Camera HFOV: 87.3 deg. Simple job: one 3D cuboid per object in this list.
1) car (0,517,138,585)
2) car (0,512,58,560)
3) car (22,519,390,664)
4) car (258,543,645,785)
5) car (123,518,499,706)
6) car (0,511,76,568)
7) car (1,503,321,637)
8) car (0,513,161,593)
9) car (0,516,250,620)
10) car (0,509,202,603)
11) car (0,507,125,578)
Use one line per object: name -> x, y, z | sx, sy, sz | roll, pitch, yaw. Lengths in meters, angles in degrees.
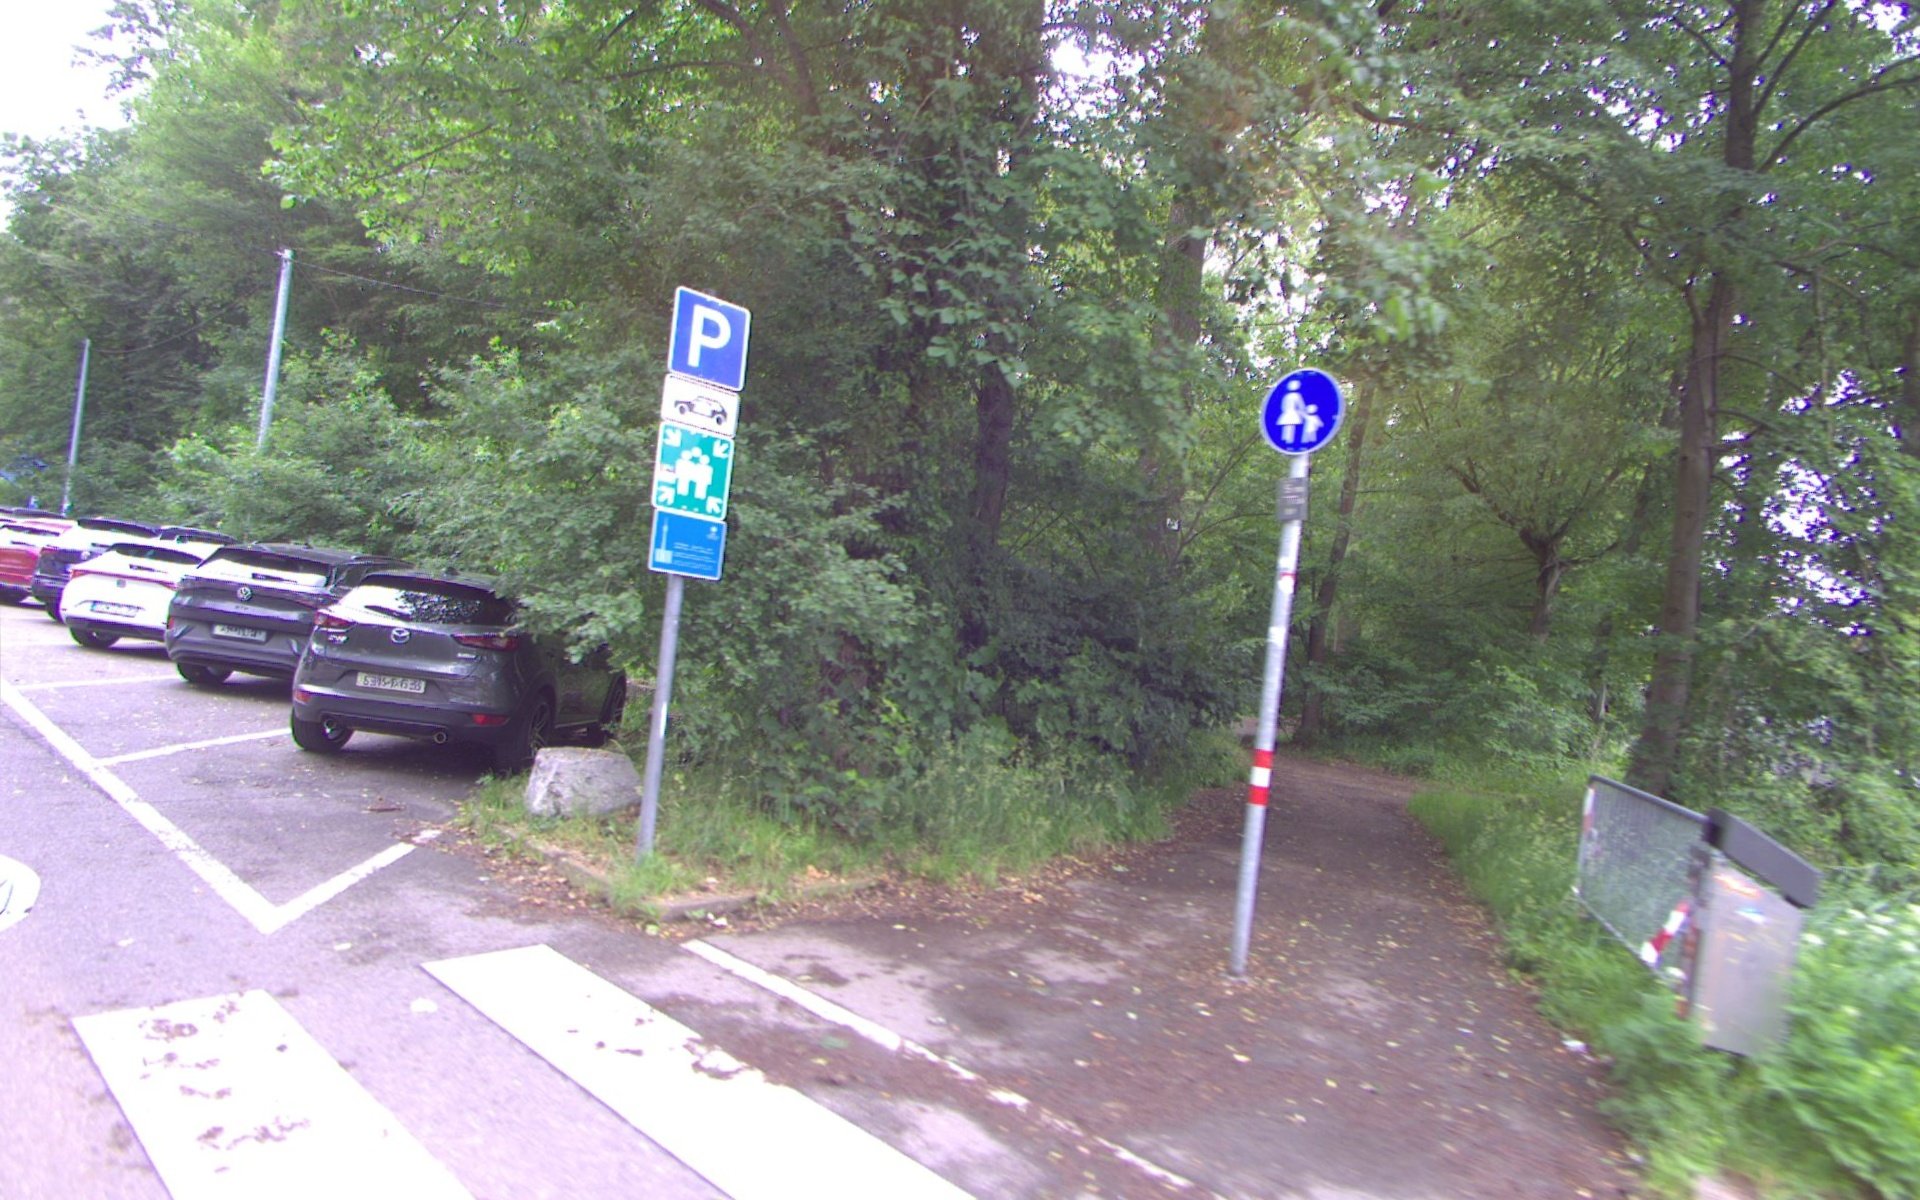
car -> -23.739, -1.308, 25.829 | 1.931, 1.393, 4.261 | 8, -2, -6
car -> -34.406, -2.440, 35.221 | 1.865, 1.478, 4.206 | 8, -3, -4
car -> -9.952, -0.007, 13.789 | 1.836, 1.454, 4.122 | 8, -3, -1
car -> -4.195, 0.531, 9.052 | 1.670, 1.509, 3.792 | 8, -3, -5
car -> -7.327, 0.193, 12.000 | 1.924, 1.598, 4.202 | 8, -3, -6
car -> -29.182, -1.950, 30.069 | 1.801, 1.483, 4.002 | 8, -2, 0
car -> -12.674, -0.359, 16.380 | 1.809, 1.636, 4.122 | 8, -3, -1
car -> -20.881, -1.100, 23.104 | 1.773, 1.474, 4.187 | 8, -2, -4
car -> -15.423, -0.531, 18.236 | 1.893, 1.429, 4.300 | 8, -3, 0
car -> -18.212, -0.866, 21.175 | 1.704, 1.522, 3.584 | 8, -2, -2
car -> -26.614, -1.697, 28.768 | 1.931, 1.655, 4.263 | 8, -2, -4
